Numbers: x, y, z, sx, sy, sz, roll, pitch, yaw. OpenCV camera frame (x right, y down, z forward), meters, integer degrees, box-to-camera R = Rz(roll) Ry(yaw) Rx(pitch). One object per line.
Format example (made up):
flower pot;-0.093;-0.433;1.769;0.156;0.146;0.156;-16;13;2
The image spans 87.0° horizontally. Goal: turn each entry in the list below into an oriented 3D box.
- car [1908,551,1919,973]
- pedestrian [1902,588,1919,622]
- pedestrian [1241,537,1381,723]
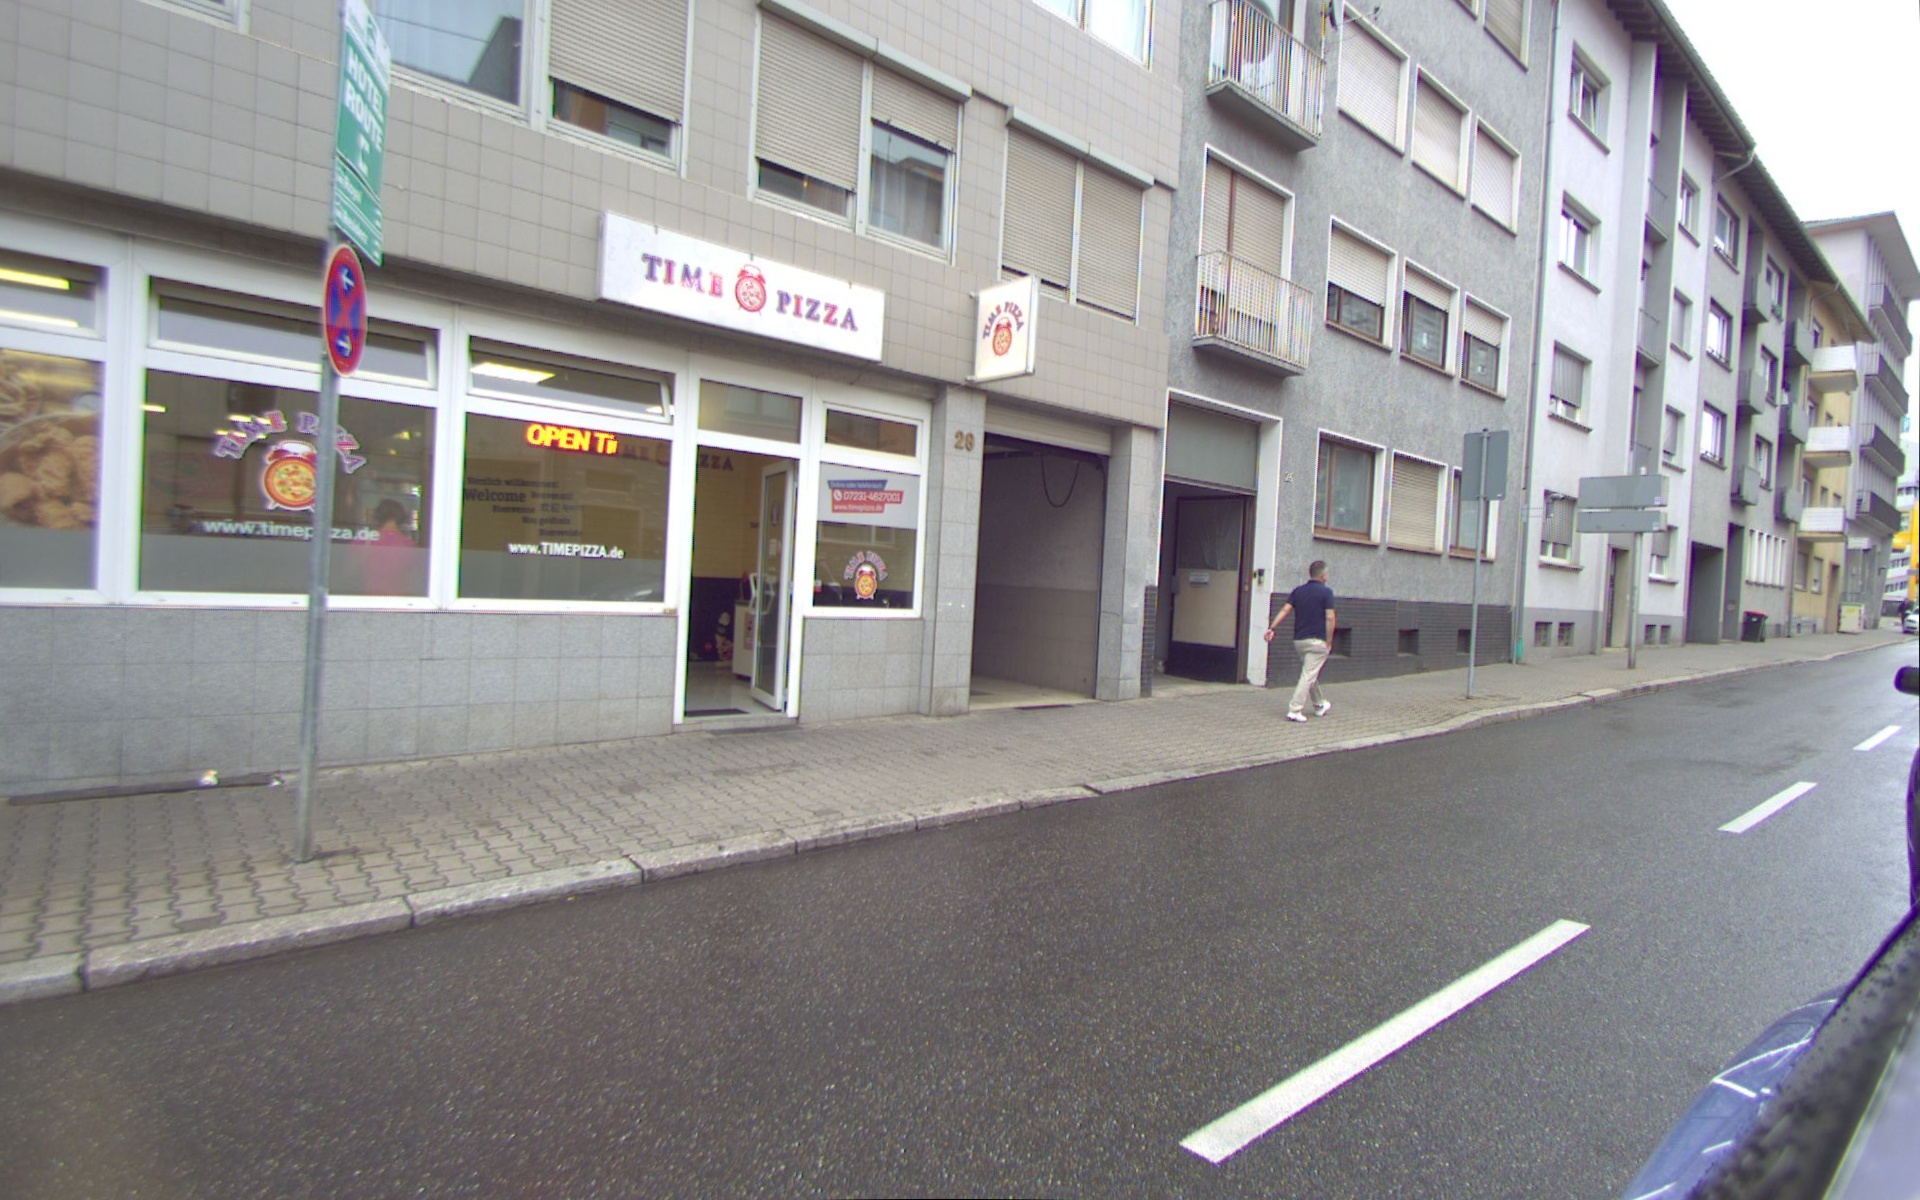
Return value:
car;6.057;0.652;4.916;4.144;1.743;1.697;-1;0;-41
pedestrian;51.835;0.262;54.779;1.117;1.772;0.946;4;3;44
pedestrian;3.882;0.293;11.192;1.100;1.887;0.871;0;6;-41
